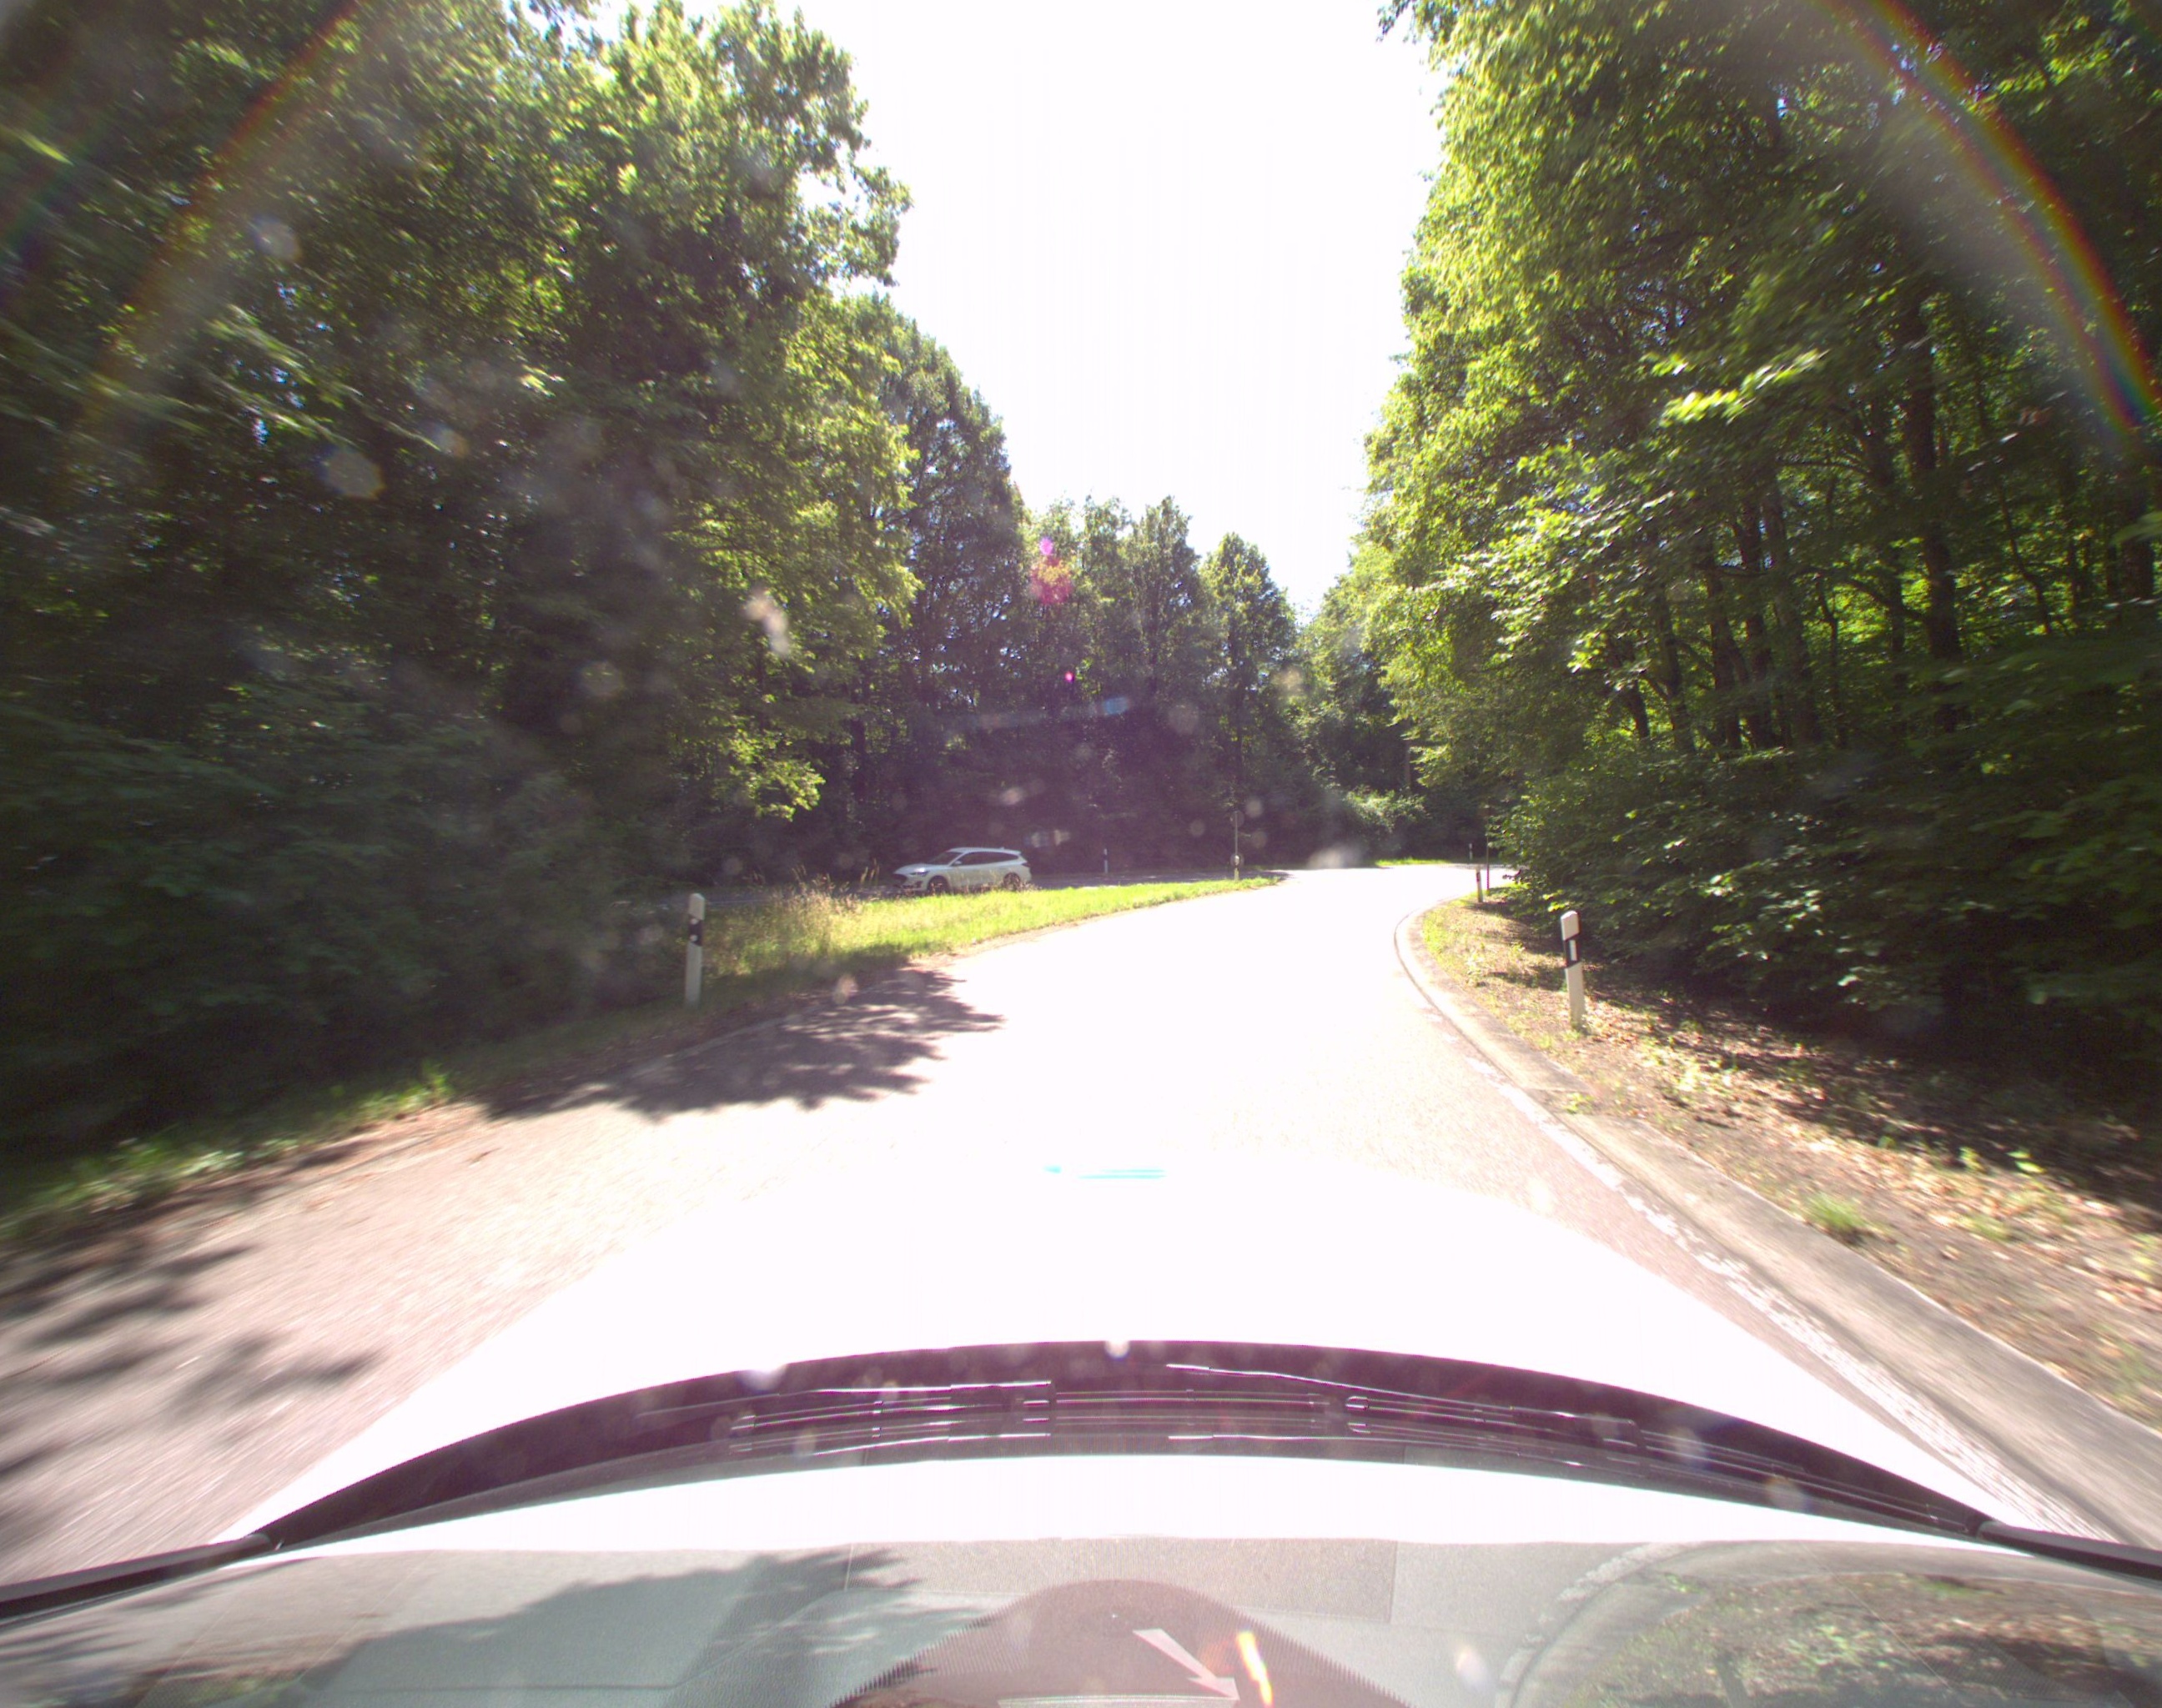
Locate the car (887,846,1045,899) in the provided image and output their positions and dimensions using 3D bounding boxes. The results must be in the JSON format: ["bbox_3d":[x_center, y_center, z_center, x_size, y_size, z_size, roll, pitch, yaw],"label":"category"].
[{"bbox_3d":[-3.677,0.527,26.576,4.892,1.452,1.742,-2,3,-37],"label":"car"}]

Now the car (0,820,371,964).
[{"bbox_3d":[-16.898,0.543,15.112,5.452,2.346,2.045,-2,3,-38],"label":"car"}]
